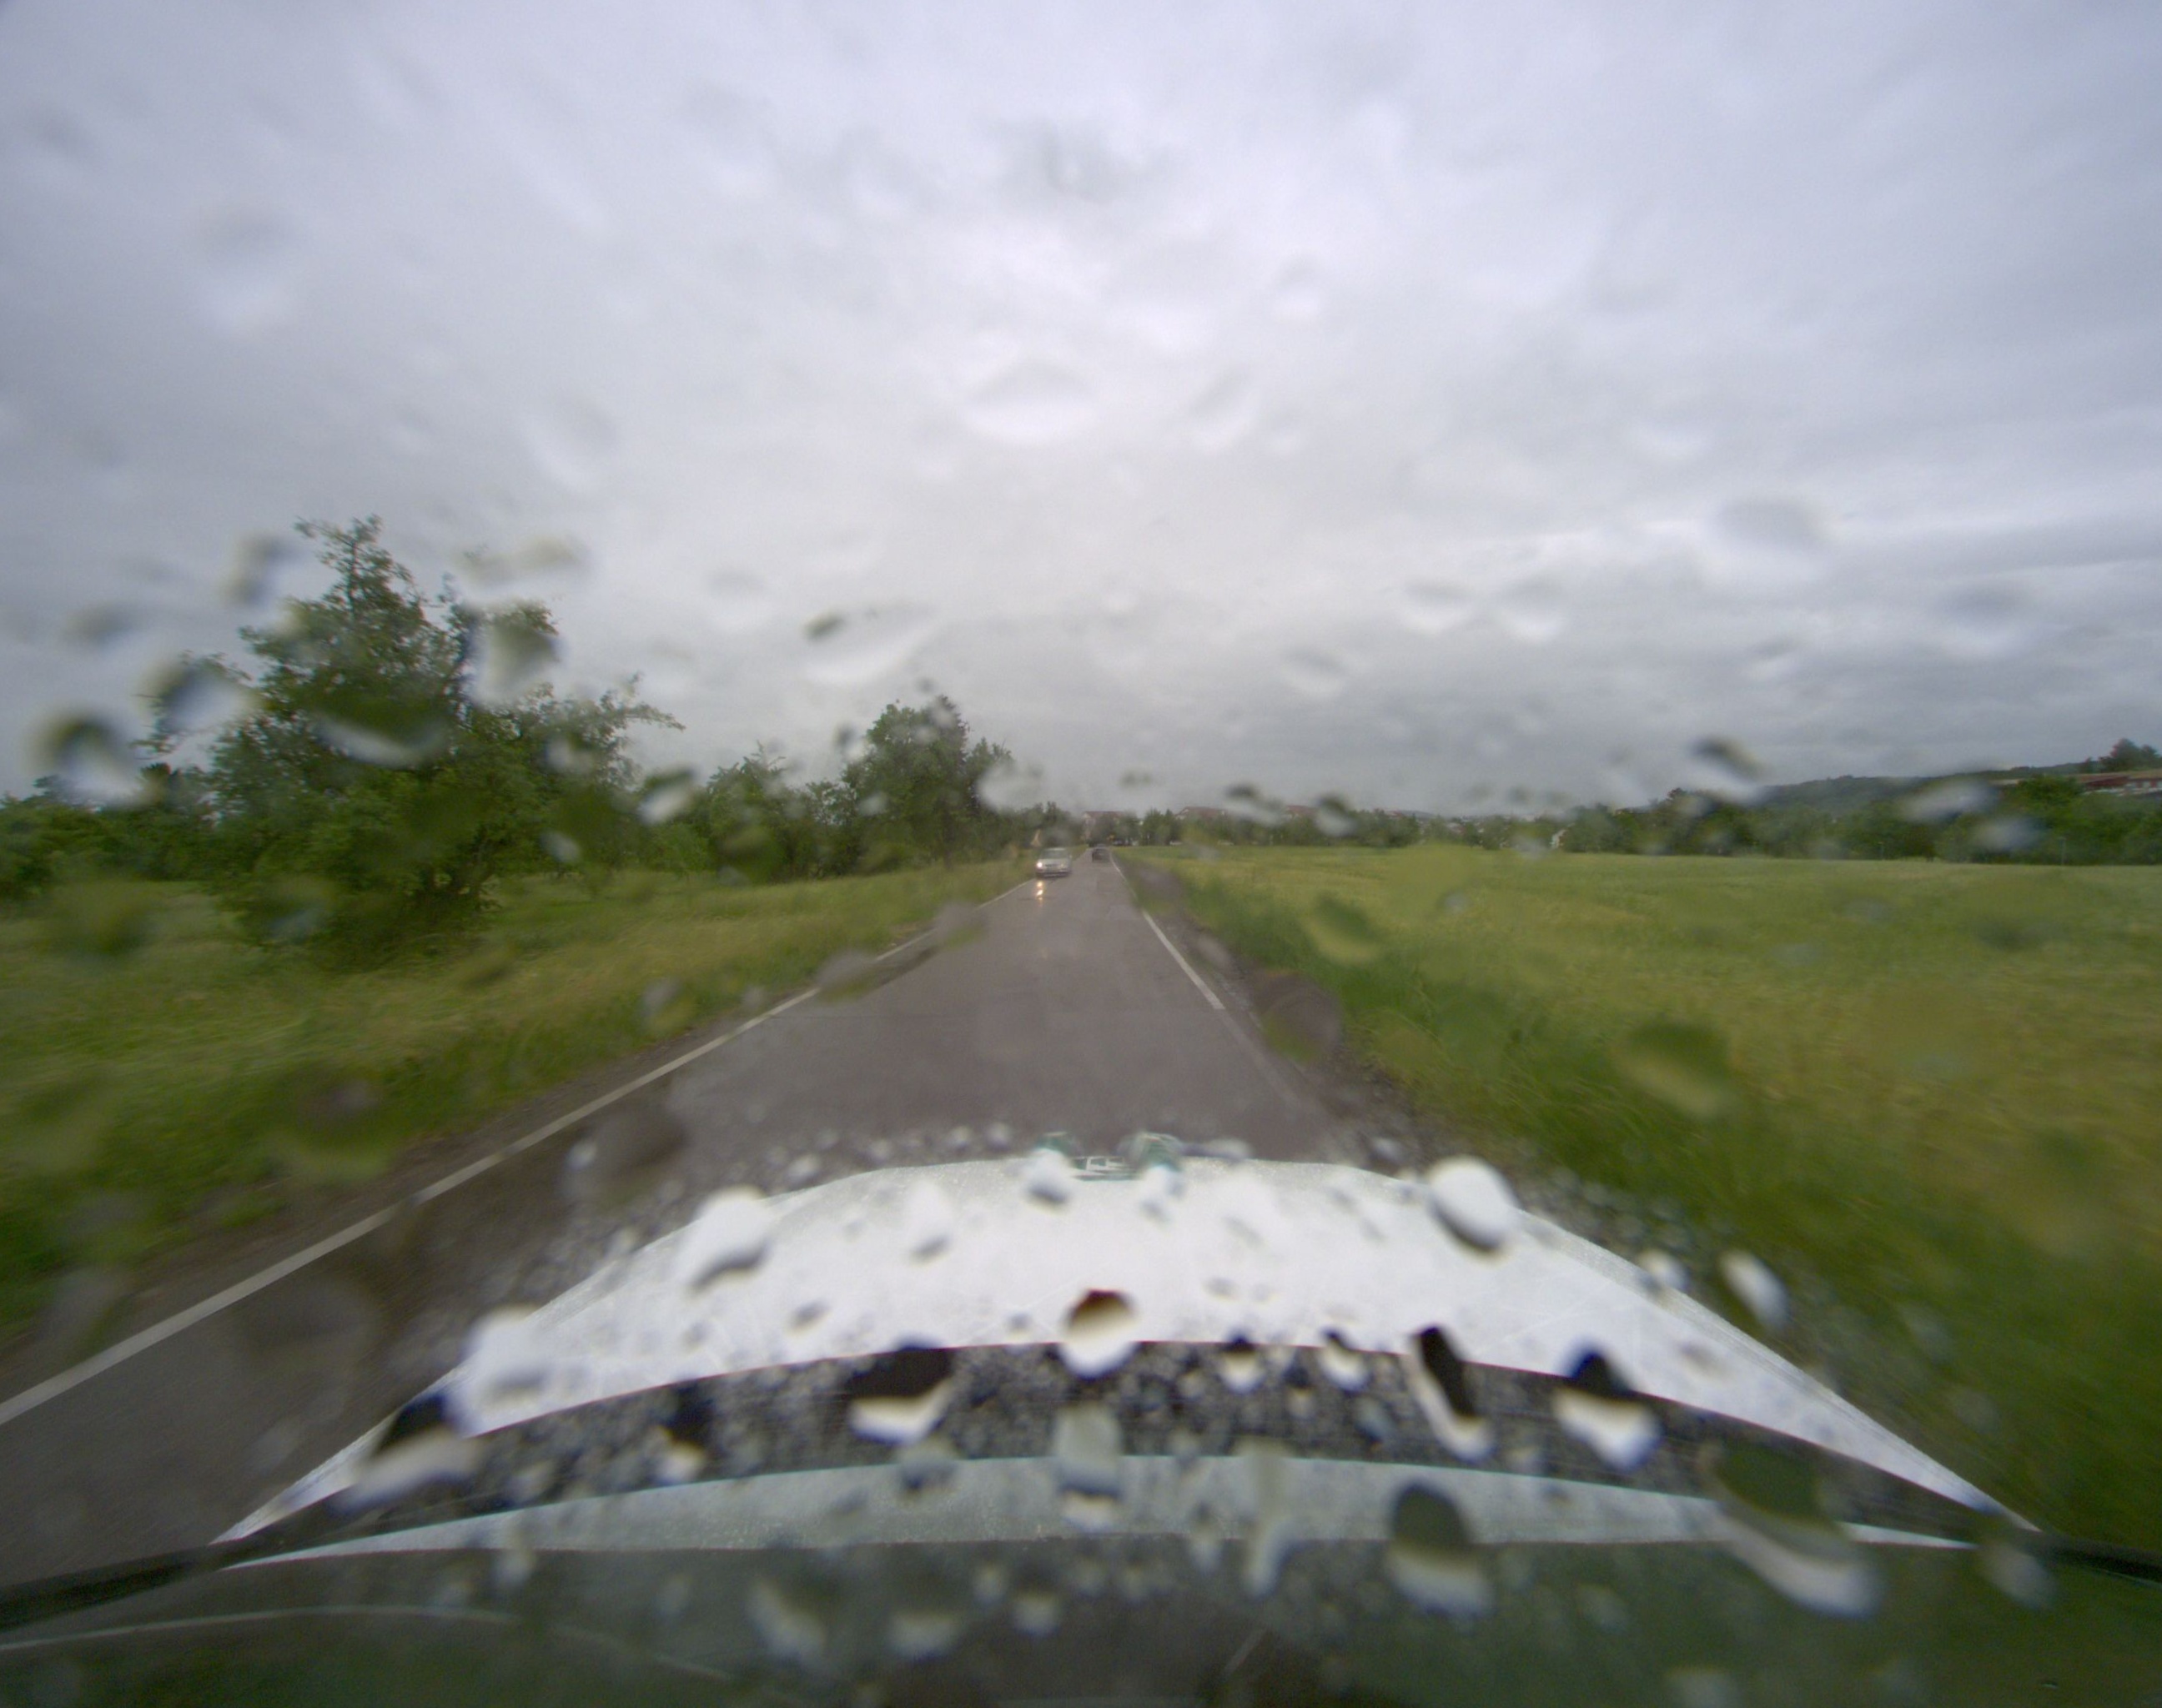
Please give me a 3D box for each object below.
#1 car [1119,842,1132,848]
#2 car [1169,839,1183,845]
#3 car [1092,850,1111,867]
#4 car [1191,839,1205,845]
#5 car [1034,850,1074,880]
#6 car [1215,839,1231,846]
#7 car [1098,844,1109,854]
[{"bbox_3d":[12.980,-2.539,236.077,1.645,1.546,4.025,-2,-1,37],"label":"car"},{"bbox_3d":[23.582,-2.902,201.708,3.365,1.371,1.554,-1,-1,14],"label":"car"},{"bbox_3d":[2.046,0.495,81.167,1.807,1.594,4.002,-1,-1,3],"label":"car"},{"bbox_3d":[28.840,-2.980,200.451,3.169,1.371,1.578,-1,-1,14],"label":"car"},{"bbox_3d":[-1.386,0.576,42.613,1.732,1.471,4.125,-1,-1,3],"label":"car"},{"bbox_3d":[34.759,-2.877,198.901,3.682,1.564,1.616,-1,-1,14],"label":"car"},{"bbox_3d":[4.011,-0.876,145.458,1.807,1.594,4.002,-1,-1,3],"label":"car"}]
